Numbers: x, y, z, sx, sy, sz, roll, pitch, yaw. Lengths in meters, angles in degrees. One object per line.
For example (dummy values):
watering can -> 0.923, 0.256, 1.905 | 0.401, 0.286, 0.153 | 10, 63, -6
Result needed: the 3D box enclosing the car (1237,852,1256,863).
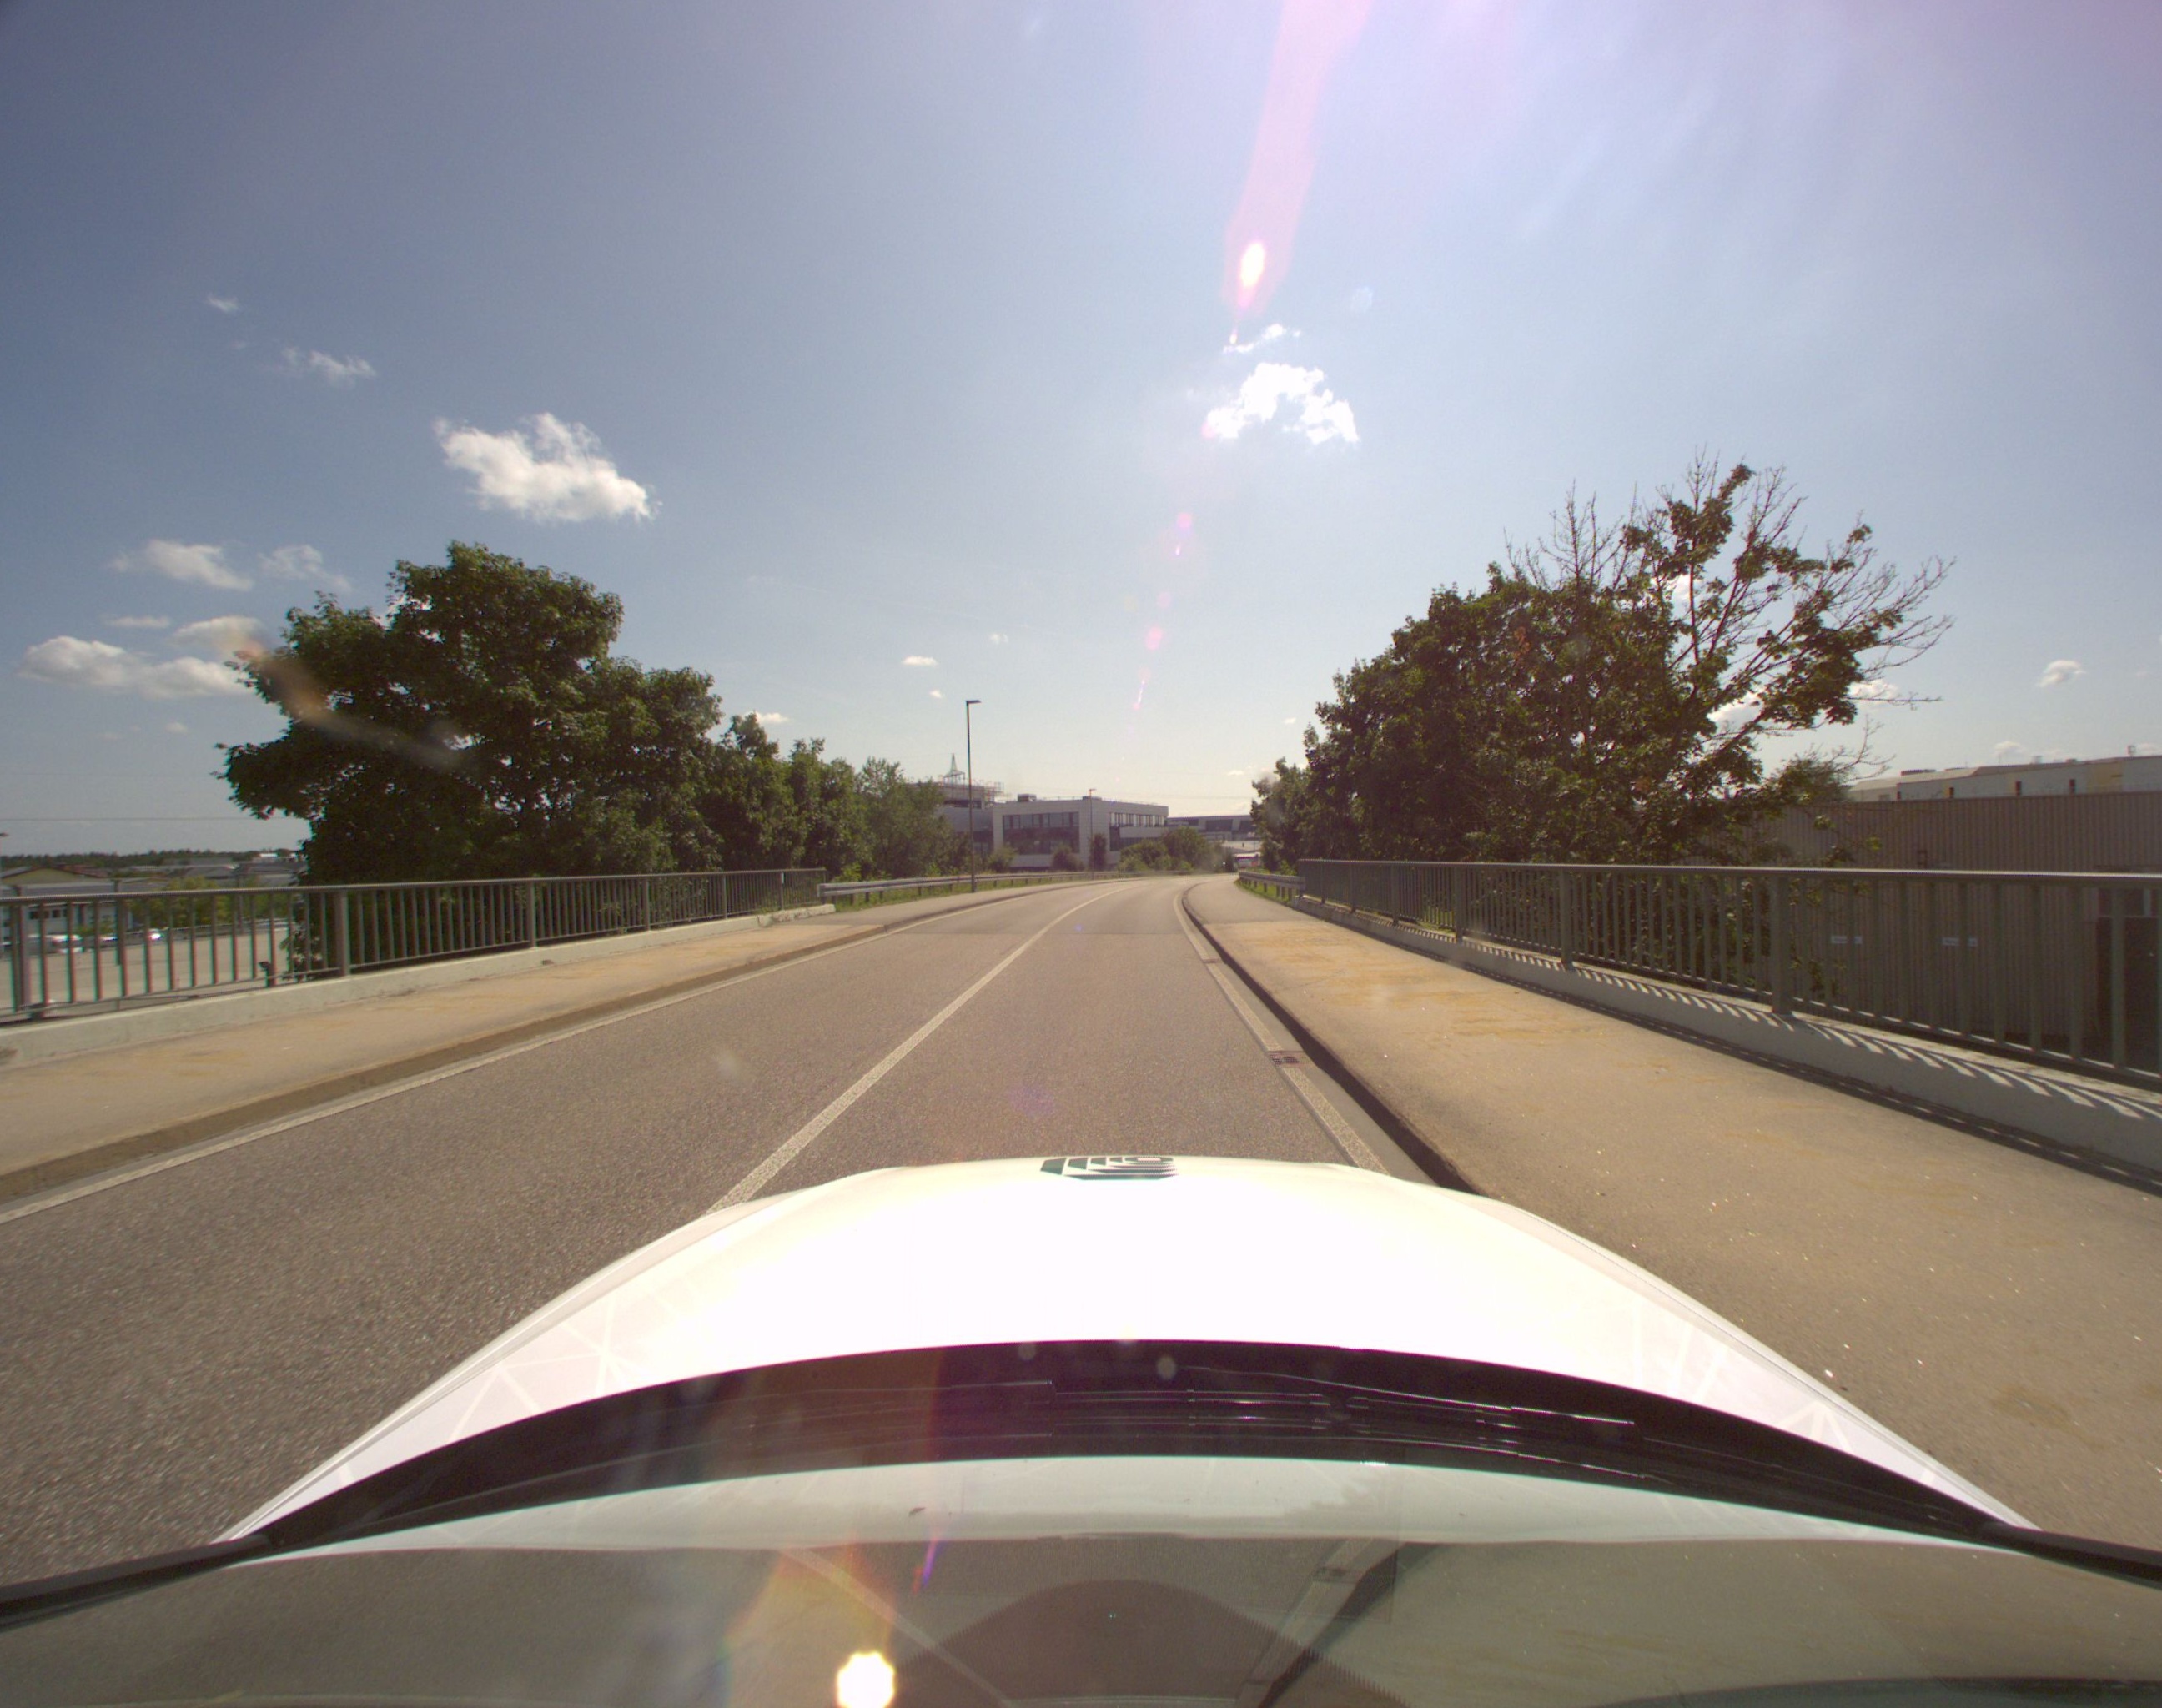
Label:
car -> 40.881, 0.845, 201.647 | 2.009, 2.608, 4.316 | 0, -1, -38
